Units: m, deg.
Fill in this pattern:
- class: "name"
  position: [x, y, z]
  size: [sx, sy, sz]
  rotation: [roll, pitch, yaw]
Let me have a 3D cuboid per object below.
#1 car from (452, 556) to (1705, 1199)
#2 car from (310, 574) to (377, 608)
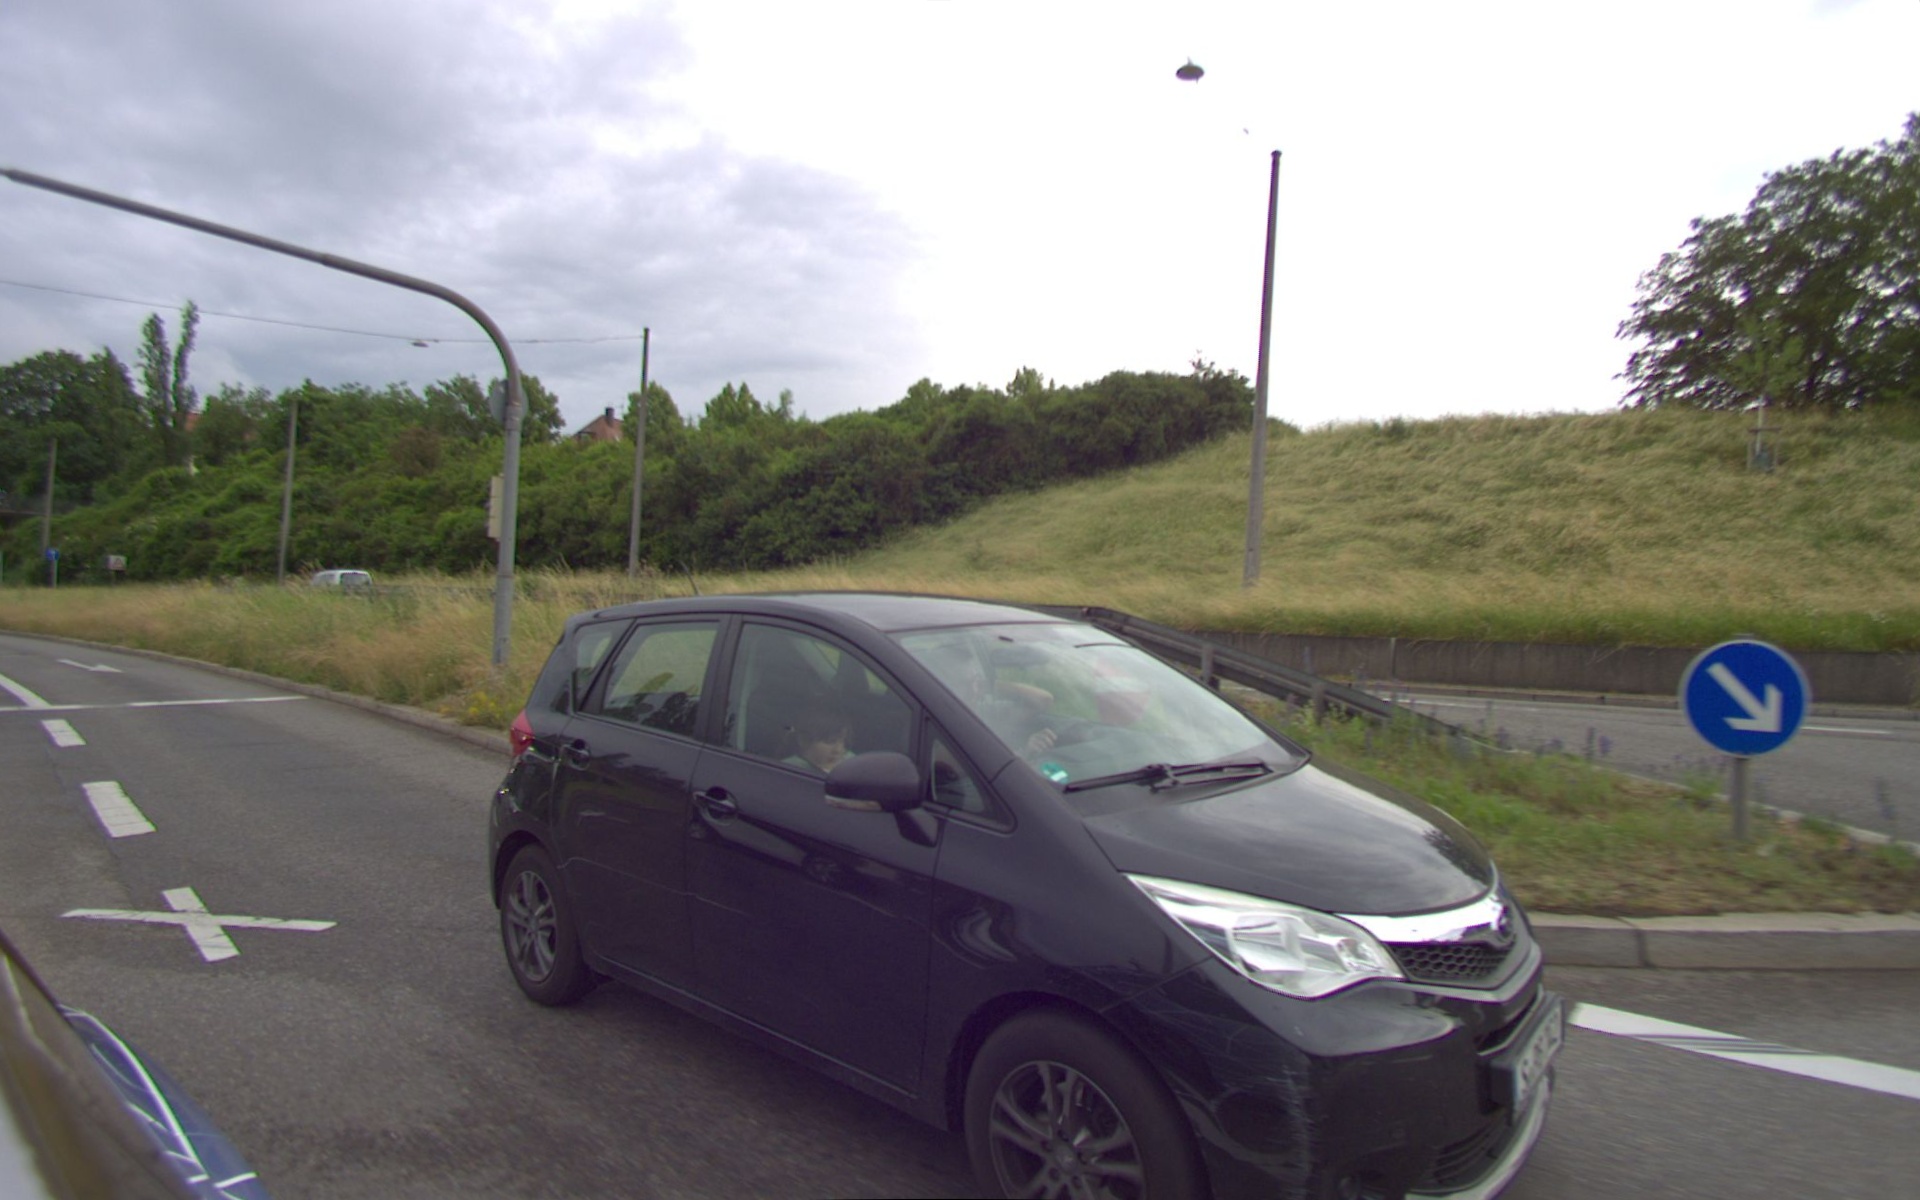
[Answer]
- class: "car"
  position: [-0.027, 0.718, 3.514]
  size: [4.043, 1.577, 1.776]
  rotation: [-1, 1, 43]
- class: "car"
  position: [-27.167, -0.423, 44.561]
  size: [3.226, 1.443, 1.541]
  rotation: [1, 1, 39]
